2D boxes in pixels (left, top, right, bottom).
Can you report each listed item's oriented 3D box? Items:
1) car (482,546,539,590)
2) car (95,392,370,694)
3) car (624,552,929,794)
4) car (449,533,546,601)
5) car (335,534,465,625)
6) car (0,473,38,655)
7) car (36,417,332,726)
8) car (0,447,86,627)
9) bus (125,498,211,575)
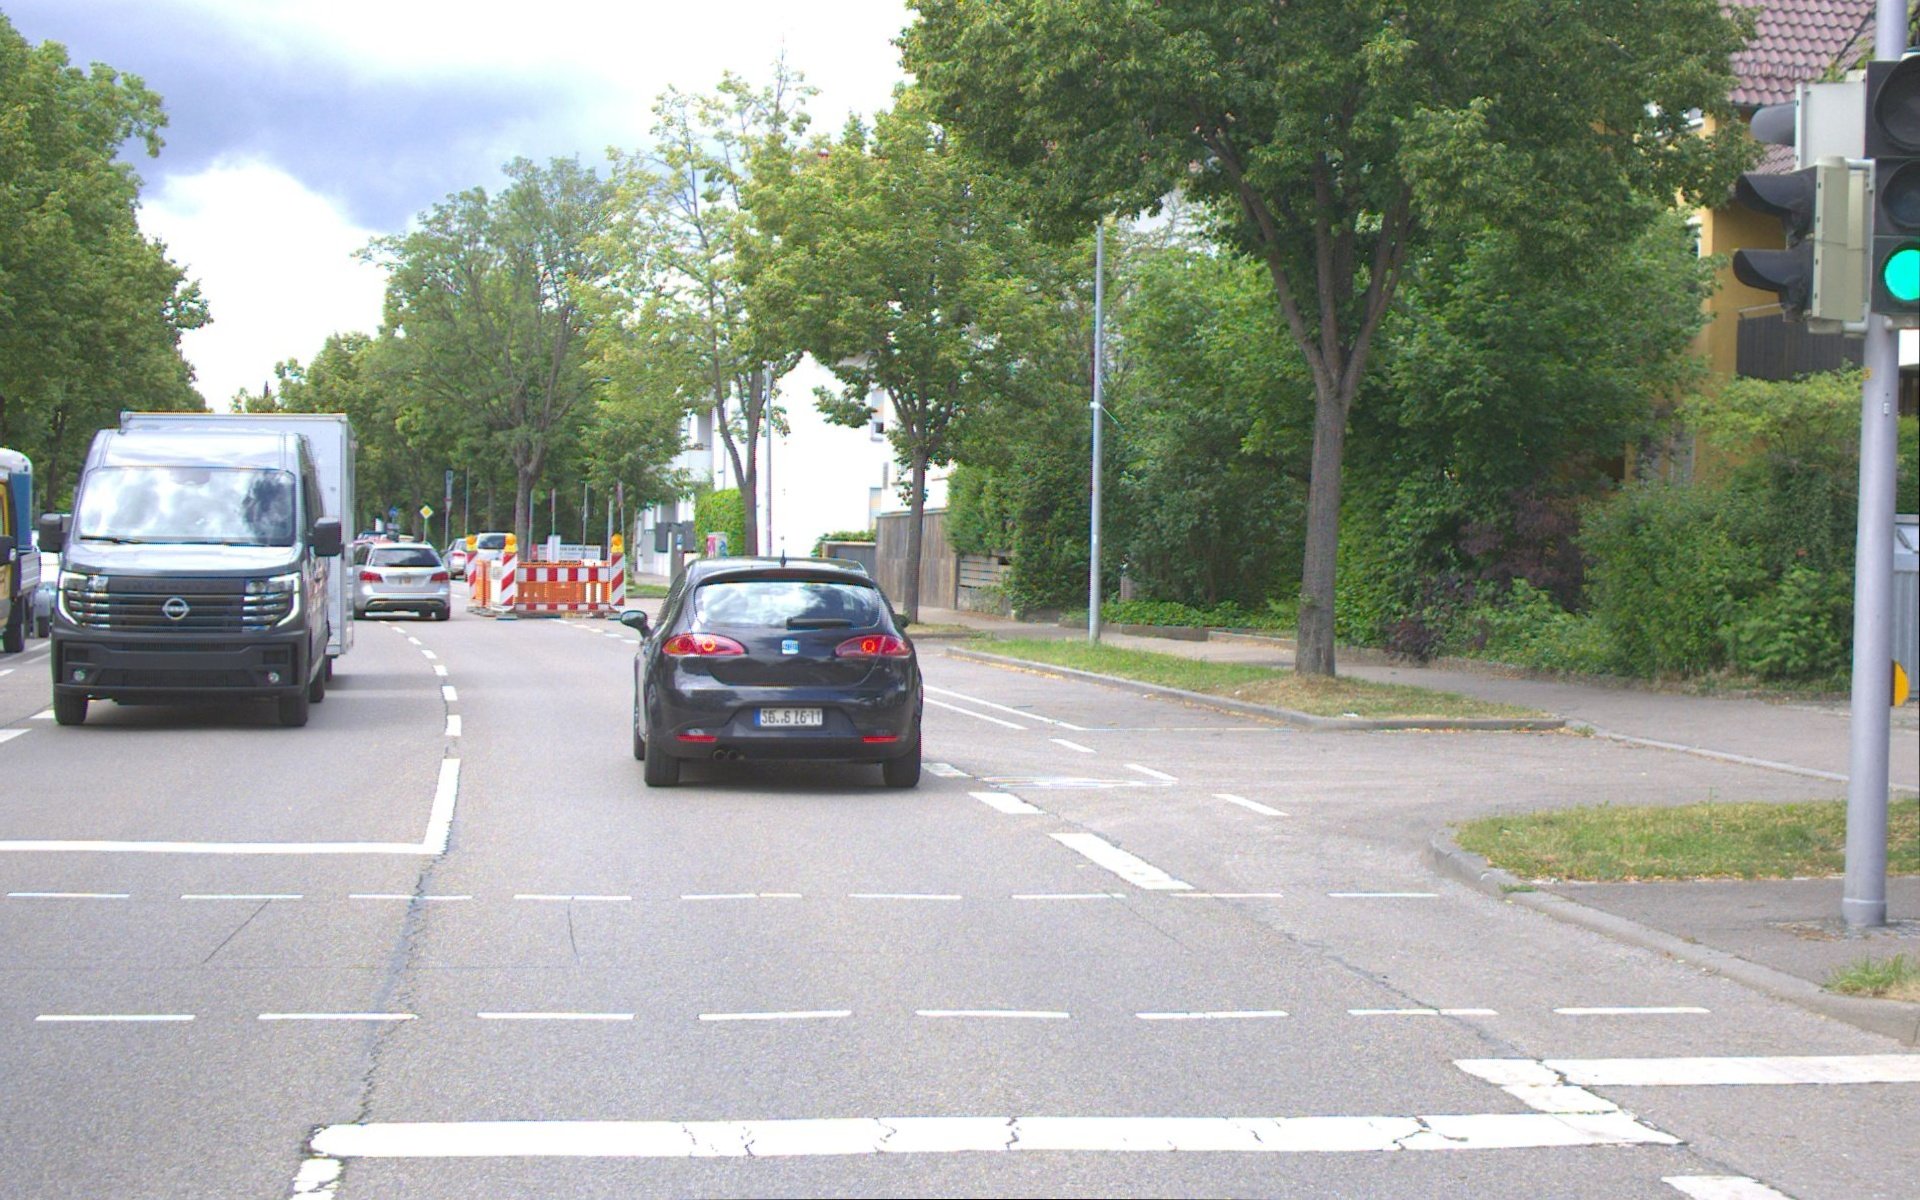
[{"bbox_3d":[-15.189,-1.093,116.258,1.809,1.410,3.694,1,1,-6],"label":"car"},{"bbox_3d":[-7.338,-0.593,35.387,2.287,2.782,7.145,0,1,-8],"label":"car"},{"bbox_3d":[-1.188,0.415,22.540,1.818,1.433,3.740,0,1,-3],"label":"car"},{"bbox_3d":[-10.087,-0.726,74.807,1.809,1.410,3.694,1,1,-12],"label":"car"},{"bbox_3d":[-10.774,-0.414,65.955,1.905,1.680,3.741,0,1,-18],"label":"car"},{"bbox_3d":[-12.676,-0.469,42.143,2.092,2.167,5.046,1,1,-9],"label":"car"},{"bbox_3d":[-6.484,-0.269,29.253,2.028,2.376,5.263,0,1,-8],"label":"car"},{"bbox_3d":[-14.712,-0.973,52.599,2.092,2.617,5.046,1,1,-9],"label":"car"},{"bbox_3d":[-22.757,-1.832,99.004,1.993,2.116,7.361,1,1,-10],"label":"bus"}]
